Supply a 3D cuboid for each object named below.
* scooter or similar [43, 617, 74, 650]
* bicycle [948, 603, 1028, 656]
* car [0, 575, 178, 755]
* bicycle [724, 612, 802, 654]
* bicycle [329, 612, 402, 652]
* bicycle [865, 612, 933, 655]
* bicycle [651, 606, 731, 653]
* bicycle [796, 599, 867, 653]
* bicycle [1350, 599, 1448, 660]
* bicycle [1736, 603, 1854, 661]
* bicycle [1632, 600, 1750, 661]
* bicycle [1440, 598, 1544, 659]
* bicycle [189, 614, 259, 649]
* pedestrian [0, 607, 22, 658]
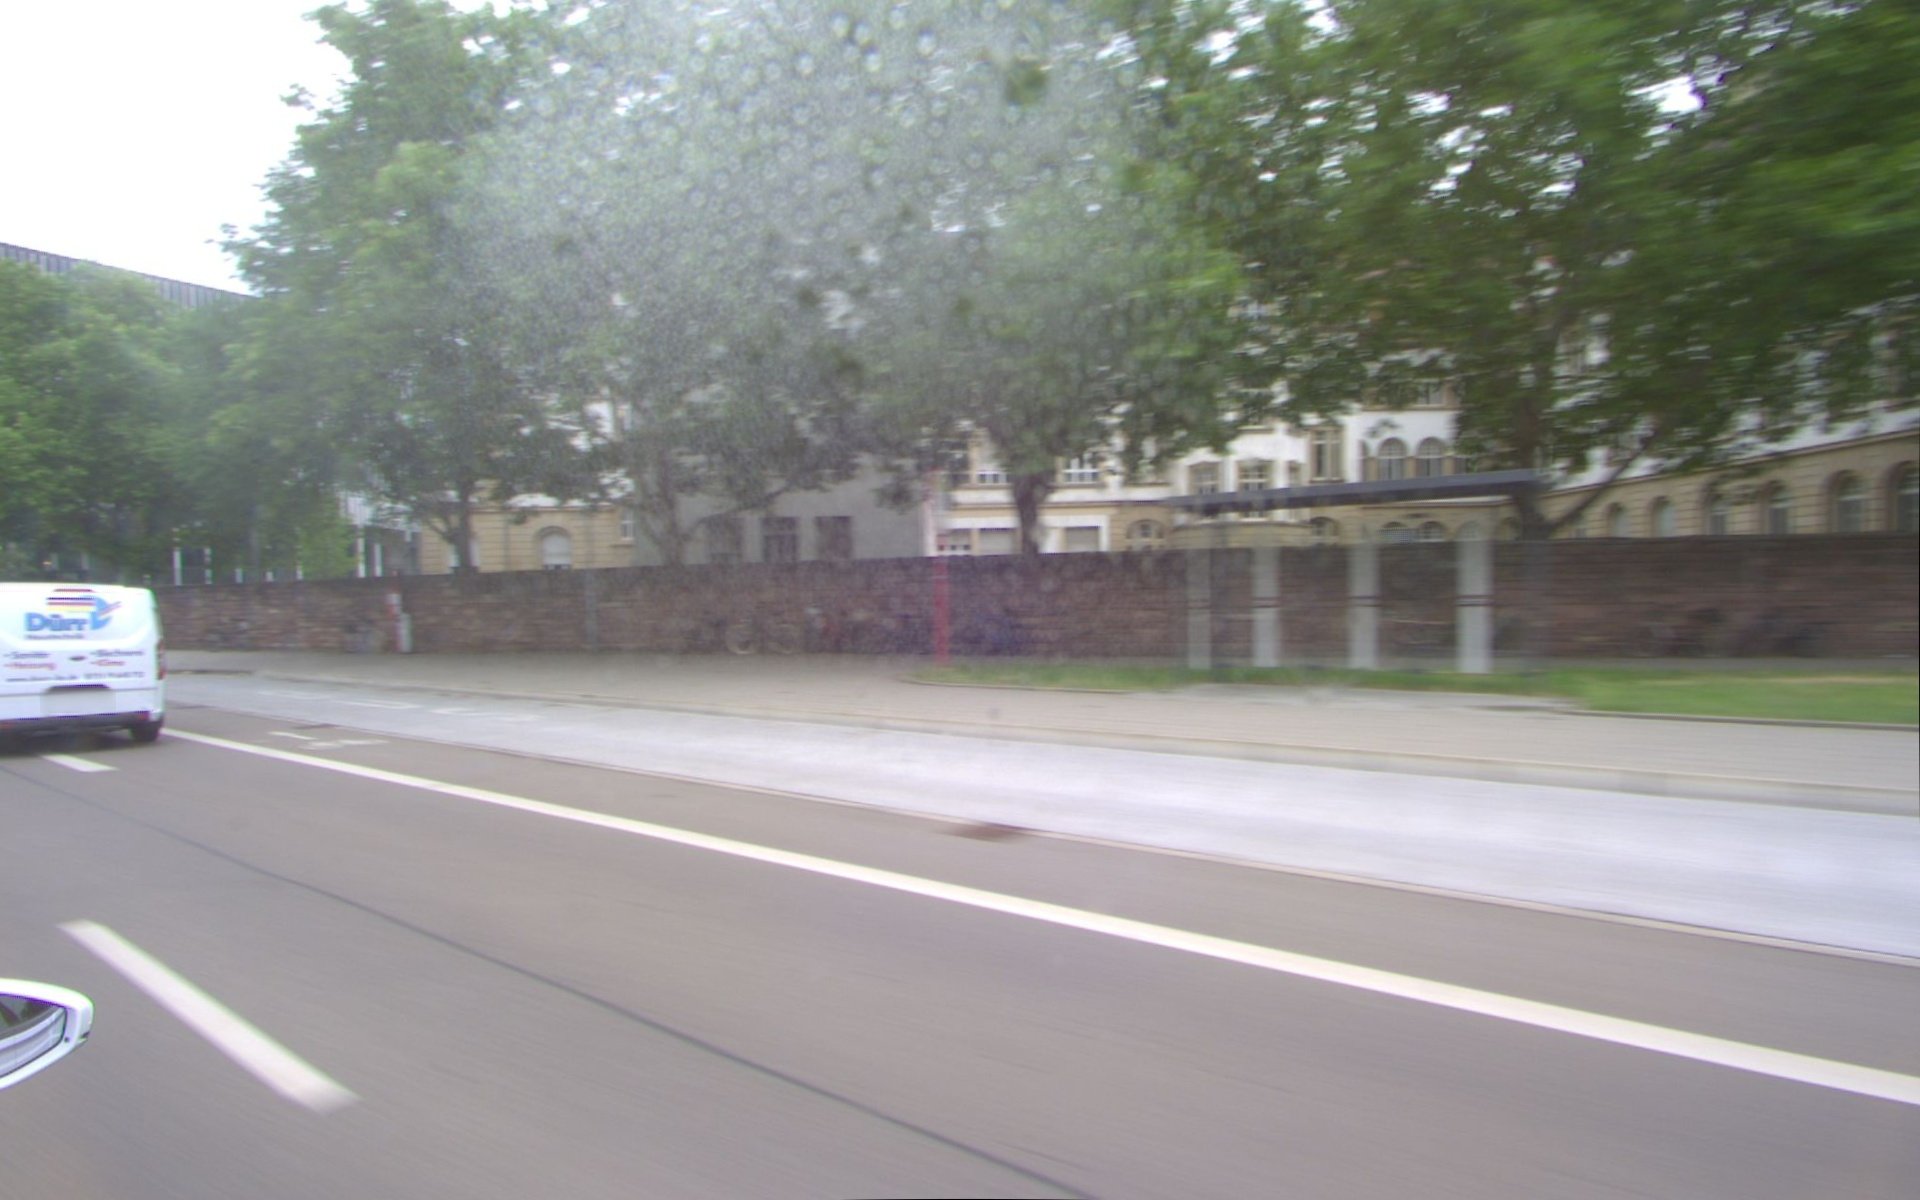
[{"bbox_3d":[-35.491,1.297,39.435,0.427,1.195,1.695,-3,3,-28],"label":"scooter or similar"},{"bbox_3d":[0.616,0.655,22.006,1.625,1.119,0.597,-1,2,17],"label":"bicycle"},{"bbox_3d":[-11.988,0.751,12.954,4.289,1.998,1.959,0,-1,38],"label":"car"},{"bbox_3d":[-4.744,0.792,24.109,1.739,0.964,0.654,-1,2,19],"label":"bicycle"},{"bbox_3d":[-17.792,0.950,29.975,1.891,1.143,0.848,-1,3,22],"label":"bicycle"},{"bbox_3d":[-1.404,0.763,23.018,1.498,0.955,0.416,-1,2,20],"label":"bicycle"},{"bbox_3d":[-6.659,0.724,24.818,1.758,1.115,0.720,-1,2,8],"label":"bicycle"},{"bbox_3d":[-3.026,0.611,23.588,1.598,1.238,0.499,-1,2,20],"label":"bicycle"},{"bbox_3d":[8.718,0.589,19.925,1.681,1.152,0.595,-1,2,11],"label":"bicycle"},{"bbox_3d":[15.302,0.590,18.376,1.606,1.005,0.550,-1,2,8],"label":"bicycle"},{"bbox_3d":[13.643,0.568,18.726,1.681,1.074,0.595,-1,2,11],"label":"bicycle"},{"bbox_3d":[10.384,0.552,19.582,1.681,1.145,0.595,-1,2,11],"label":"bicycle"},{"bbox_3d":[-24.275,1.044,33.042,1.936,1.088,0.940,-1,2,22],"label":"bicycle"},{"bbox_3d":[-33.683,1.139,35.366,0.545,1.763,0.456,-1,2,-2],"label":"pedestrian"}]
